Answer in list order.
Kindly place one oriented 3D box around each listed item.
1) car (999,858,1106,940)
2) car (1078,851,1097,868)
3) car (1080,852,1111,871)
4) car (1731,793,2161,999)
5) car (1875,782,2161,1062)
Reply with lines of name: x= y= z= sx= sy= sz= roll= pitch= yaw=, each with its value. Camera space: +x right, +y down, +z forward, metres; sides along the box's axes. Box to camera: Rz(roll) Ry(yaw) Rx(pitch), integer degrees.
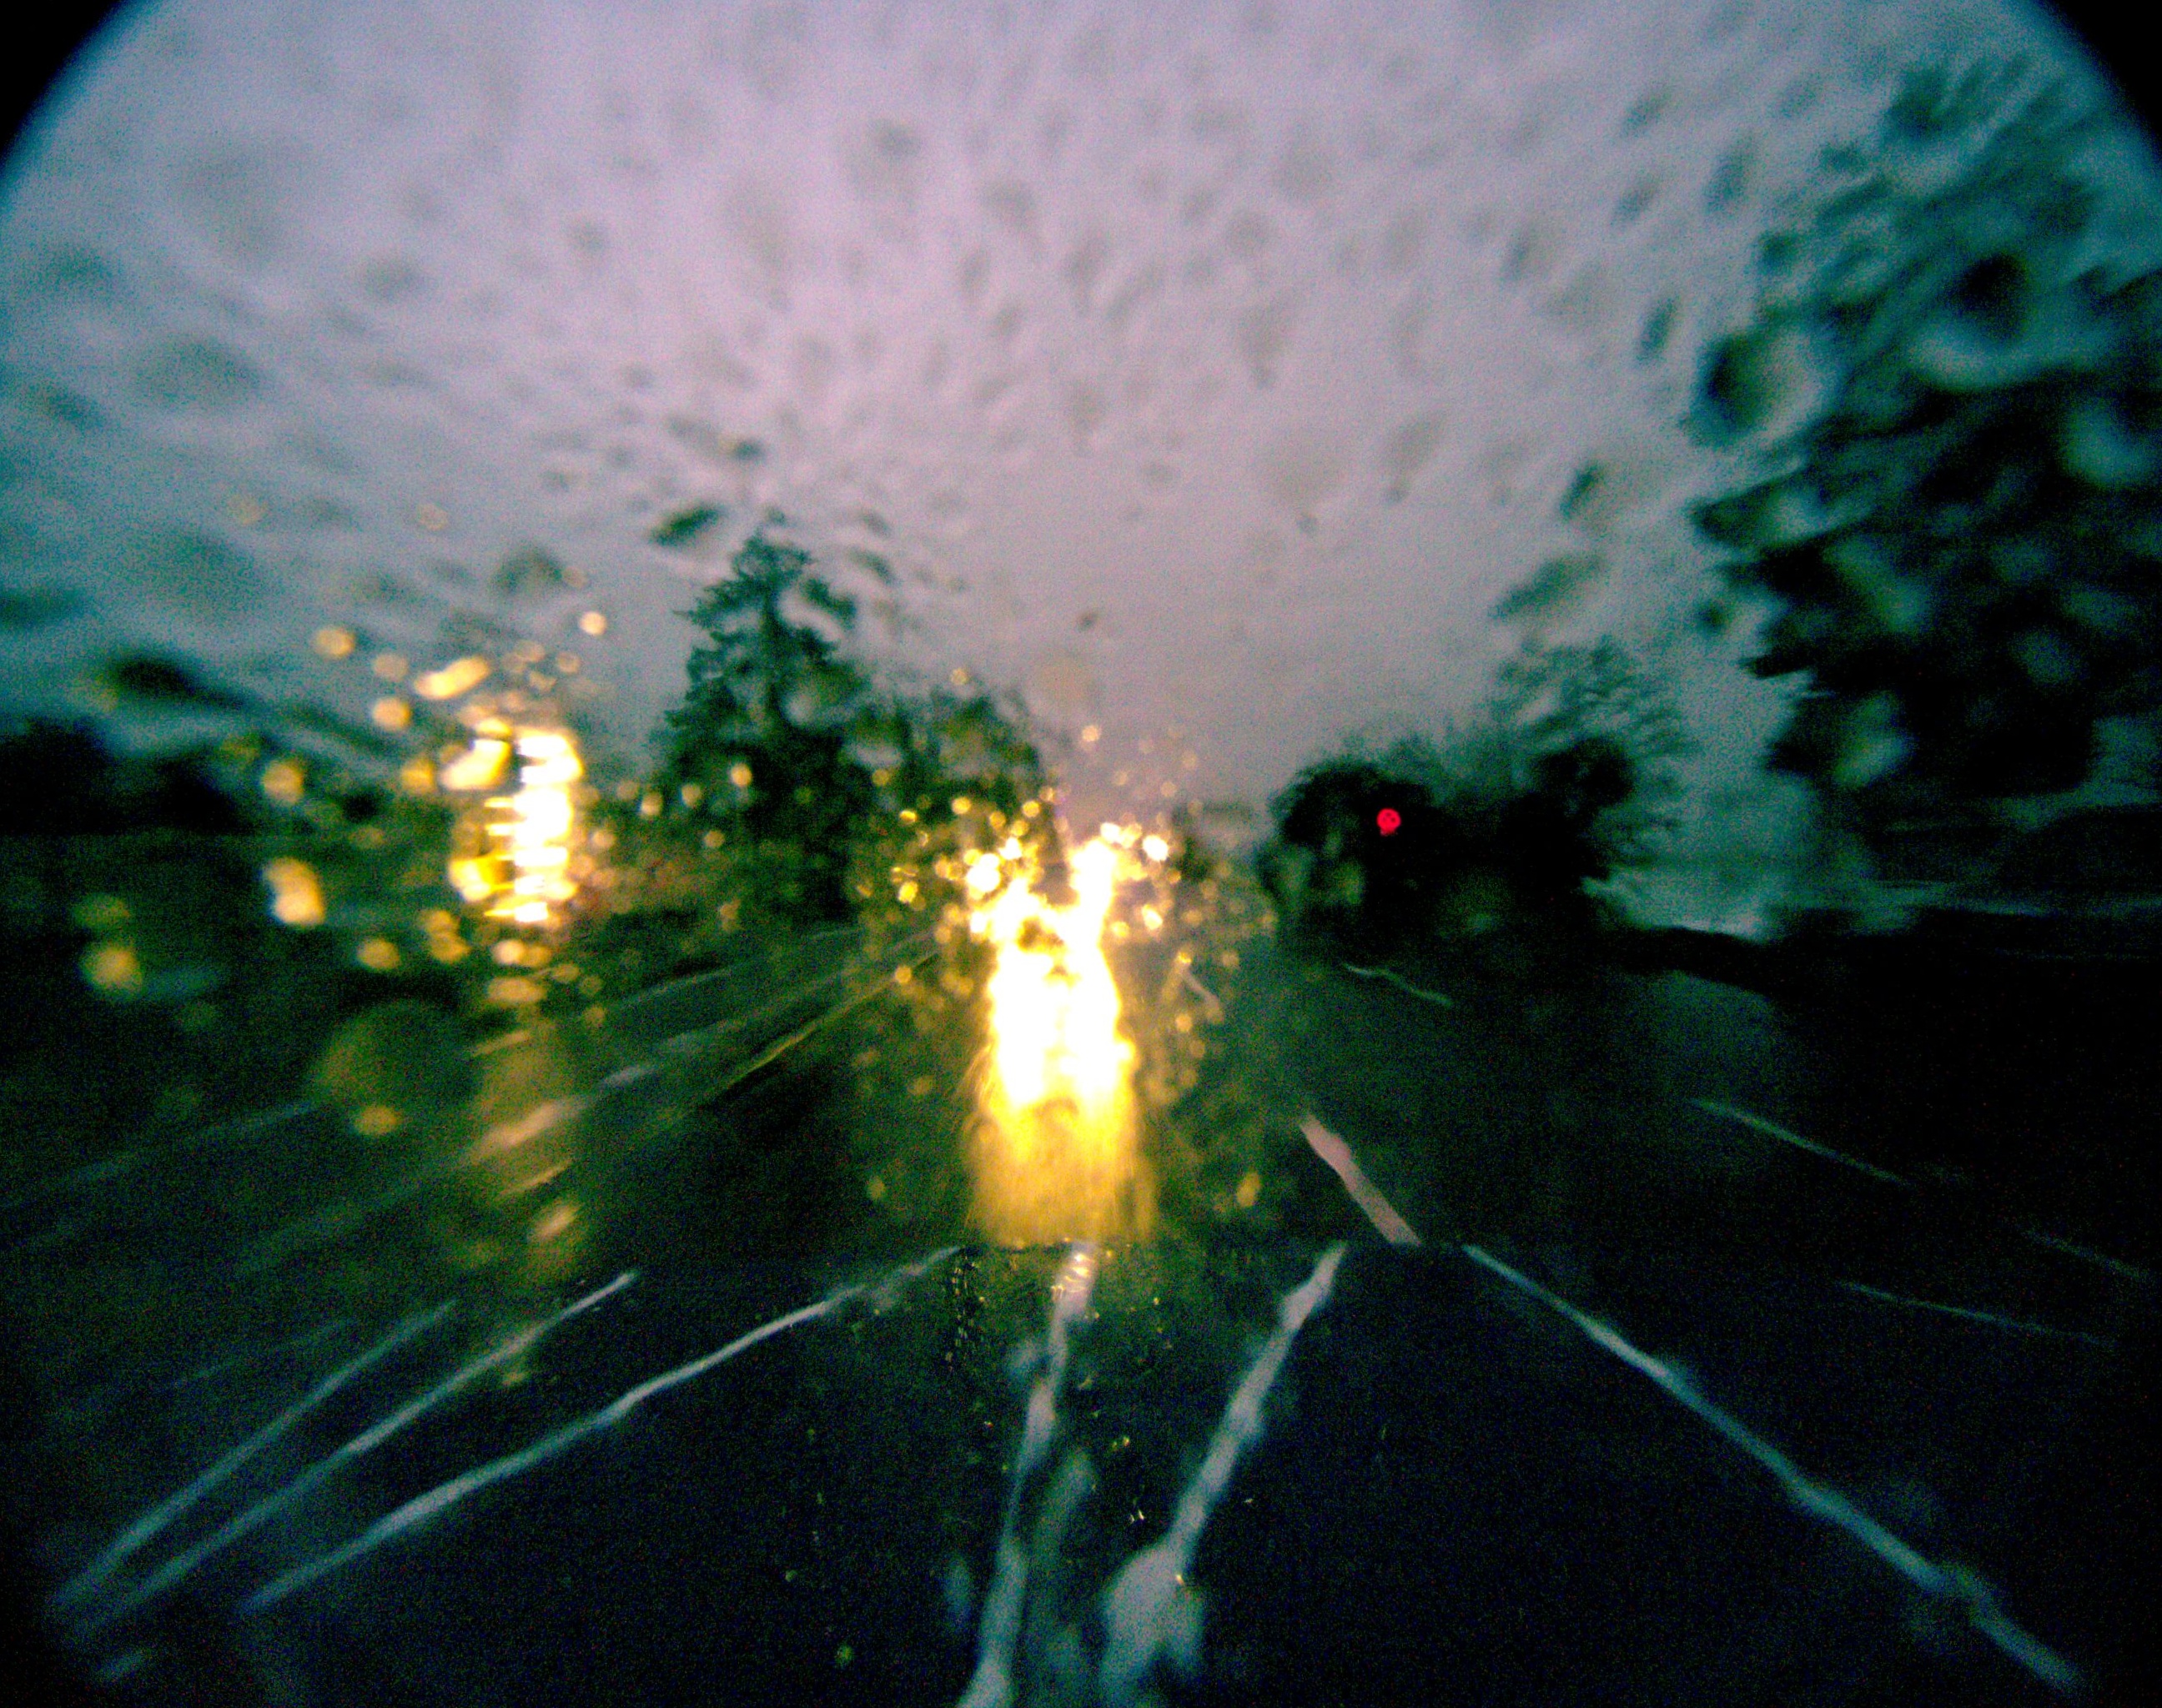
car: x=-0.689 y=0.859 z=16.497 sx=2.016 sy=1.484 sz=3.998 roll=-1 pitch=0 yaw=-4
car: x=0.680 y=0.507 z=79.035 sx=1.933 sy=1.701 sz=4.000 roll=-1 pitch=0 yaw=1
car: x=1.112 y=0.564 z=60.000 sx=2.016 sy=1.484 sz=3.998 roll=-1 pitch=0 yaw=-4
car: x=11.956 y=0.519 z=9.979 sx=5.116 sy=2.376 sz=2.080 roll=1 pitch=0 yaw=-3
car: x=10.861 y=0.586 z=7.159 sx=4.679 sy=2.259 sz=1.987 roll=1 pitch=0 yaw=-1
